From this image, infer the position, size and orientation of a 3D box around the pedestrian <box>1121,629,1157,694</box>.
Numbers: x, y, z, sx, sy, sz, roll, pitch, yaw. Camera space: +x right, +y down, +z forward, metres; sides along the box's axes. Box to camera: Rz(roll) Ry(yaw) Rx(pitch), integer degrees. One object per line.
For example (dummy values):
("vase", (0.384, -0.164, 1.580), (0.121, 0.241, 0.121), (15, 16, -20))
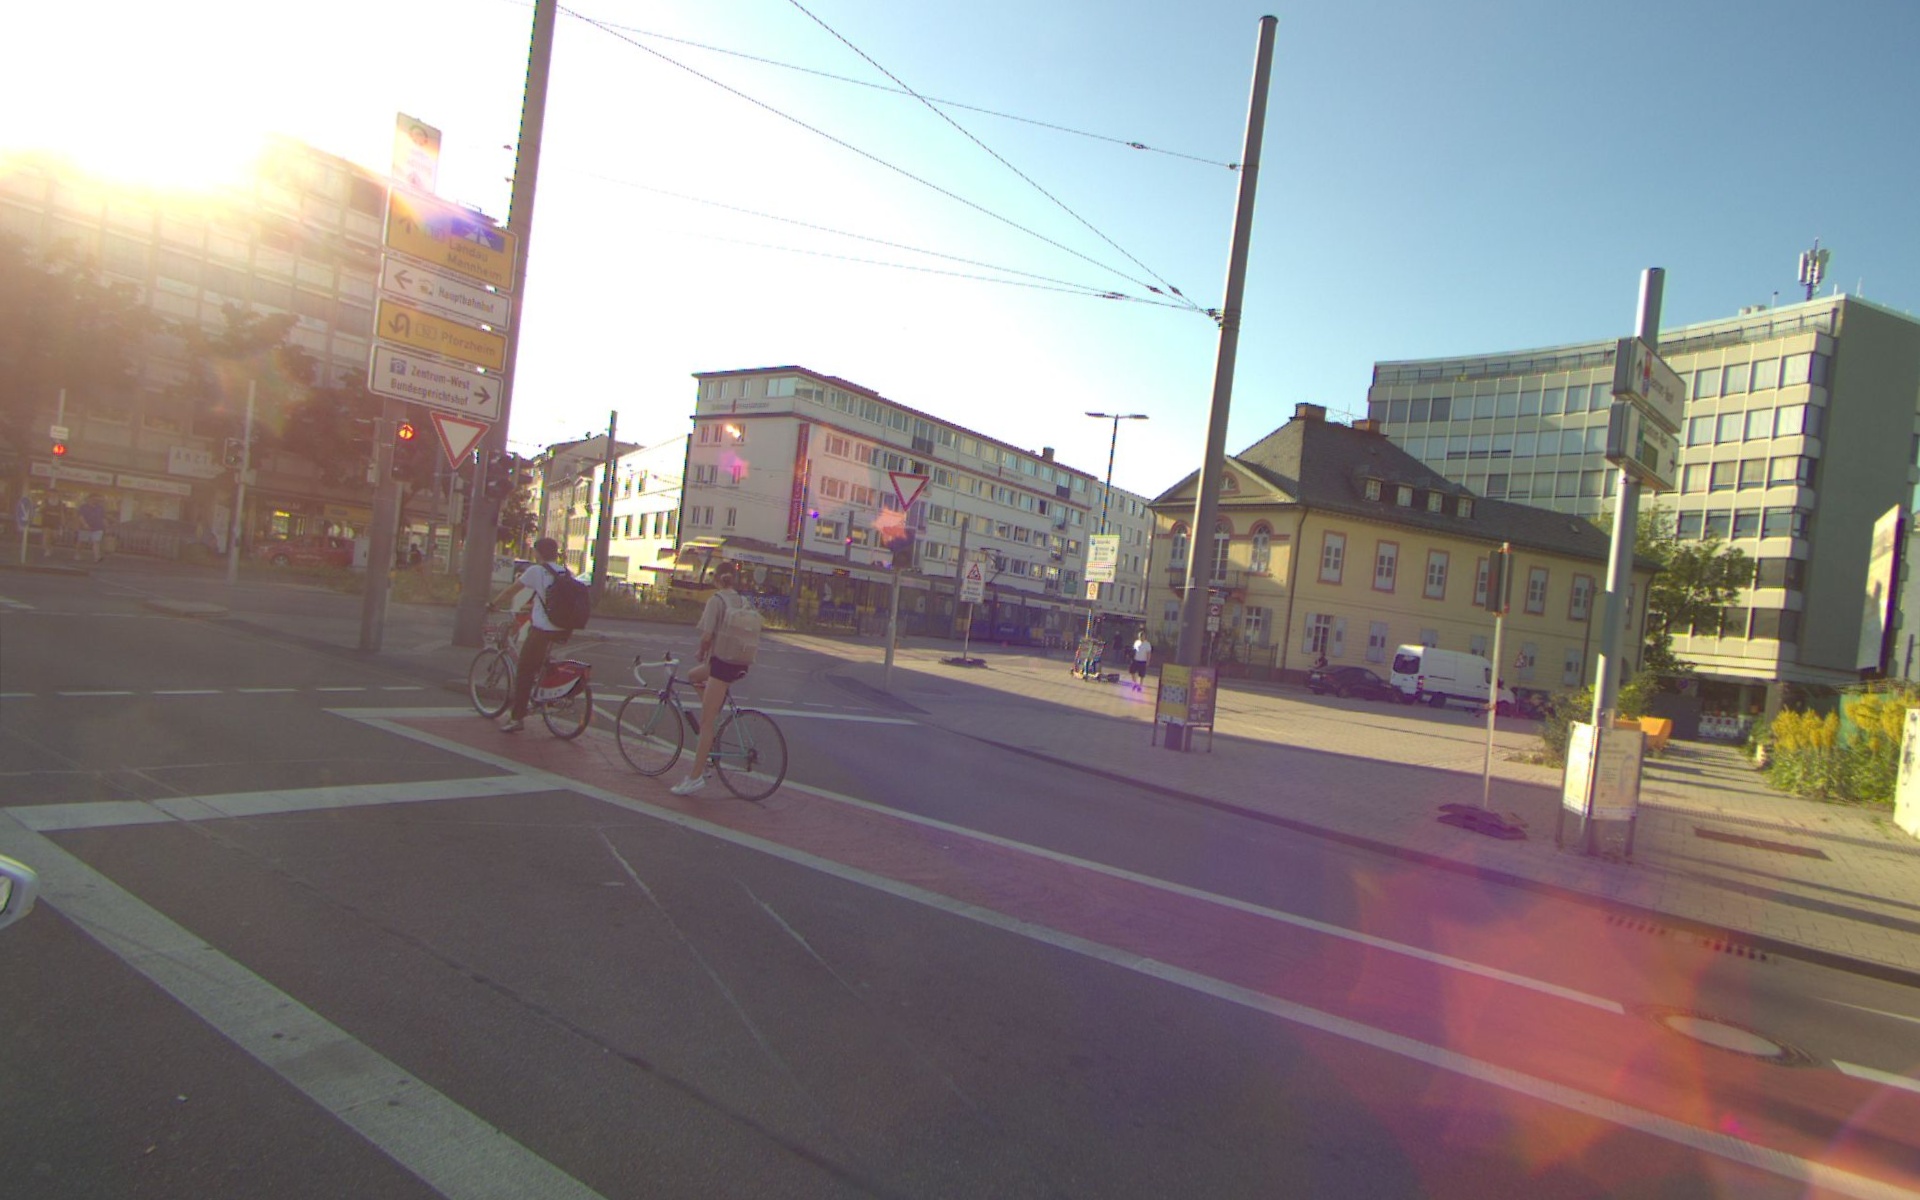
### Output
("pedestrian", (5.257, 1.811, 29.430), (0.746, 1.783, 1.009), (7, -1, 16))

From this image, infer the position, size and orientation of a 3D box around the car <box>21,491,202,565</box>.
("car", (-26.895, -2.258, 31.999), (1.816, 1.636, 3.990), (6, -2, 36))

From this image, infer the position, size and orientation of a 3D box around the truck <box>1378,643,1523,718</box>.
("truck", (21.832, 3.577, 44.803), (5.556, 2.578, 2.294), (8, -2, -17))

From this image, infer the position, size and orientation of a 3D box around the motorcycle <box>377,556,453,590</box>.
("motorcycle", (-22.232, -1.084, 41.108), (0.527, 1.013, 2.664), (6, -2, 36))

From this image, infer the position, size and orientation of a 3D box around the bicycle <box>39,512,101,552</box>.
("bicycle", (-34.496, -2.629, 38.976), (2.594, 1.157, 0.751), (9, 0, 26))

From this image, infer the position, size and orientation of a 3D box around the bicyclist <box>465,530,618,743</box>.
("bicyclist", (-3.813, 0.322, 9.170), (1.042, 1.789, 0.543), (7, -1, 27))

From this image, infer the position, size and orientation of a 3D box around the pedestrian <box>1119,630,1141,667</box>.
("pedestrian", (8.118, 2.302, 47.931), (0.802, 1.661, 0.687), (7, -1, 14))

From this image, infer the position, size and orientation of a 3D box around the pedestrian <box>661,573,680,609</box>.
("pedestrian", (-17.358, -0.535, 60.336), (0.622, 2.037, 0.708), (8, -1, -37))

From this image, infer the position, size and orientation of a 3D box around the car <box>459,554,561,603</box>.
("car", (-20.030, -0.916, 44.981), (1.809, 1.636, 4.004), (7, -2, 18))

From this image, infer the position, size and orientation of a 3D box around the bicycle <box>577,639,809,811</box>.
("bicycle", (-2.041, 0.909, 7.642), (1.664, 1.013, 0.543), (6, -1, 27))

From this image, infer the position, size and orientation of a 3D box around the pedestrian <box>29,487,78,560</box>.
("pedestrian", (-22.753, -1.908, 25.247), (1.029, 1.702, 0.694), (6, -1, 45))

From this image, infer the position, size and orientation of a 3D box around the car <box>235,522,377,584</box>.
("car", (-24.469, -1.737, 37.764), (1.816, 1.636, 3.990), (6, -2, 36))

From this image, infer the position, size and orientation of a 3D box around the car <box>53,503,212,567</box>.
("car", (-30.309, -2.345, 36.940), (1.816, 1.636, 4.071), (6, -2, 36))

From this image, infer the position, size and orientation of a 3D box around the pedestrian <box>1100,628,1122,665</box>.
("pedestrian", (7.222, 2.204, 47.969), (0.802, 1.661, 0.687), (7, -1, 13))

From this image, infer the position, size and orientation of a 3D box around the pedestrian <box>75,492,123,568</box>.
("pedestrian", (-22.195, -1.807, 25.937), (1.029, 1.814, 0.694), (6, -1, 45))

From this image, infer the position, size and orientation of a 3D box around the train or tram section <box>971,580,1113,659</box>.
("train or tram section", (5.876, 1.477, 68.248), (3.655, 3.877, 12.960), (6, -2, 32))

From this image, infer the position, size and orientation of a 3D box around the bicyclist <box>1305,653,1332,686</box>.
("bicyclist", (17.760, 3.432, 49.850), (0.885, 1.474, 0.721), (8, -1, -19))

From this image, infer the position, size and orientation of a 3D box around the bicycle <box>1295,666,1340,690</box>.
("bicycle", (17.719, 3.863, 49.857), (1.963, 0.959, 0.721), (8, -2, -19))

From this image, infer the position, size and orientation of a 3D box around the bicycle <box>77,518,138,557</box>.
("bicycle", (-33.918, -2.502, 40.021), (2.594, 1.157, 0.751), (9, 0, 26))

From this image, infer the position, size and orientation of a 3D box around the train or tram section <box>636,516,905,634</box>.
("train or tram section", (-8.153, -0.896, 46.452), (3.656, 3.880, 13.326), (6, -1, 34))

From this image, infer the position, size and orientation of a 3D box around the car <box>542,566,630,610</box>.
("car", (-18.554, -0.547, 50.079), (1.810, 1.636, 4.003), (7, -2, 20))

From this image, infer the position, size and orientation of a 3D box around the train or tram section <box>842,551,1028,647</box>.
("train or tram section", (-0.997, 0.165, 57.395), (3.655, 3.877, 12.958), (6, -2, 33))

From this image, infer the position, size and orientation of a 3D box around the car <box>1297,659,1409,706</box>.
("car", (16.622, 3.484, 42.589), (4.133, 1.380, 1.709), (8, -2, -17))

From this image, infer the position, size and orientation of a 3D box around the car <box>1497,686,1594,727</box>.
("car", (27.093, 4.926, 46.586), (3.706, 1.380, 1.709), (8, -2, -17))

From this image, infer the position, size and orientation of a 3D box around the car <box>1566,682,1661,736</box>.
("car", (31.151, 5.204, 47.974), (3.706, 2.003, 1.709), (8, -2, -17))

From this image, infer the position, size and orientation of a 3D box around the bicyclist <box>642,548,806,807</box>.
("bicyclist", (-1.745, 0.559, 7.478), (0.778, 1.766, 0.615), (7, -1, 27))

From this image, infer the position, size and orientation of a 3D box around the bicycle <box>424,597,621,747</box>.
("bicycle", (-4.036, 0.636, 9.245), (1.777, 1.113, 0.543), (6, -1, 27))

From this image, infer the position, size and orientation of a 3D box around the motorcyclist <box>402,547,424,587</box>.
("motorcyclist", (-22.282, -1.354, 40.997), (0.527, 1.526, 0.460), (6, -1, 37))
